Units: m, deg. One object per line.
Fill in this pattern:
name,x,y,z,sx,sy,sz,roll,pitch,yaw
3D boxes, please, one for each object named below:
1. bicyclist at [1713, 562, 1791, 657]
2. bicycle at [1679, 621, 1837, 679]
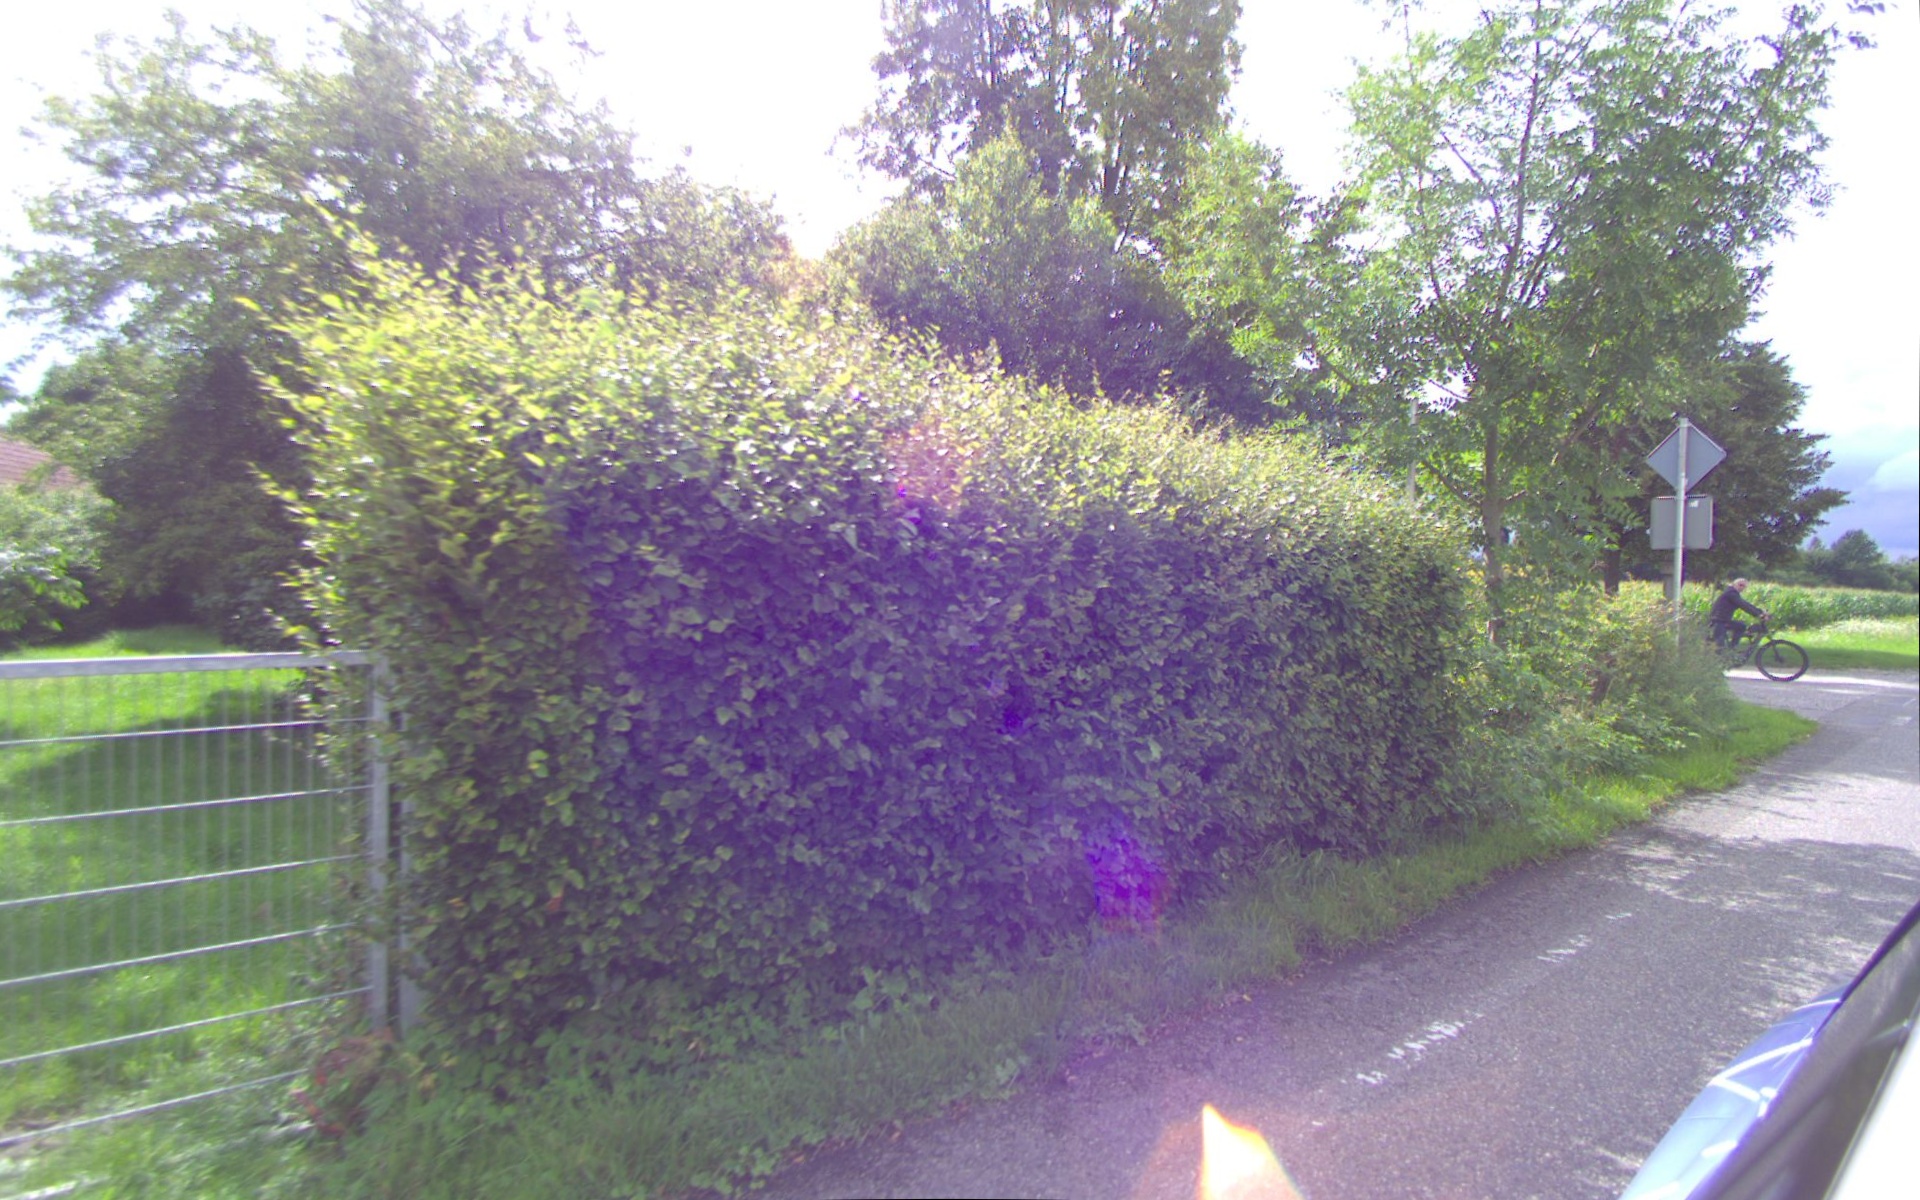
bicyclist,13.941,0.158,17.850,1.014,1.605,1.041,0,0,35
bicycle,13.976,0.850,17.824,2.109,0.875,1.041,1,1,35
